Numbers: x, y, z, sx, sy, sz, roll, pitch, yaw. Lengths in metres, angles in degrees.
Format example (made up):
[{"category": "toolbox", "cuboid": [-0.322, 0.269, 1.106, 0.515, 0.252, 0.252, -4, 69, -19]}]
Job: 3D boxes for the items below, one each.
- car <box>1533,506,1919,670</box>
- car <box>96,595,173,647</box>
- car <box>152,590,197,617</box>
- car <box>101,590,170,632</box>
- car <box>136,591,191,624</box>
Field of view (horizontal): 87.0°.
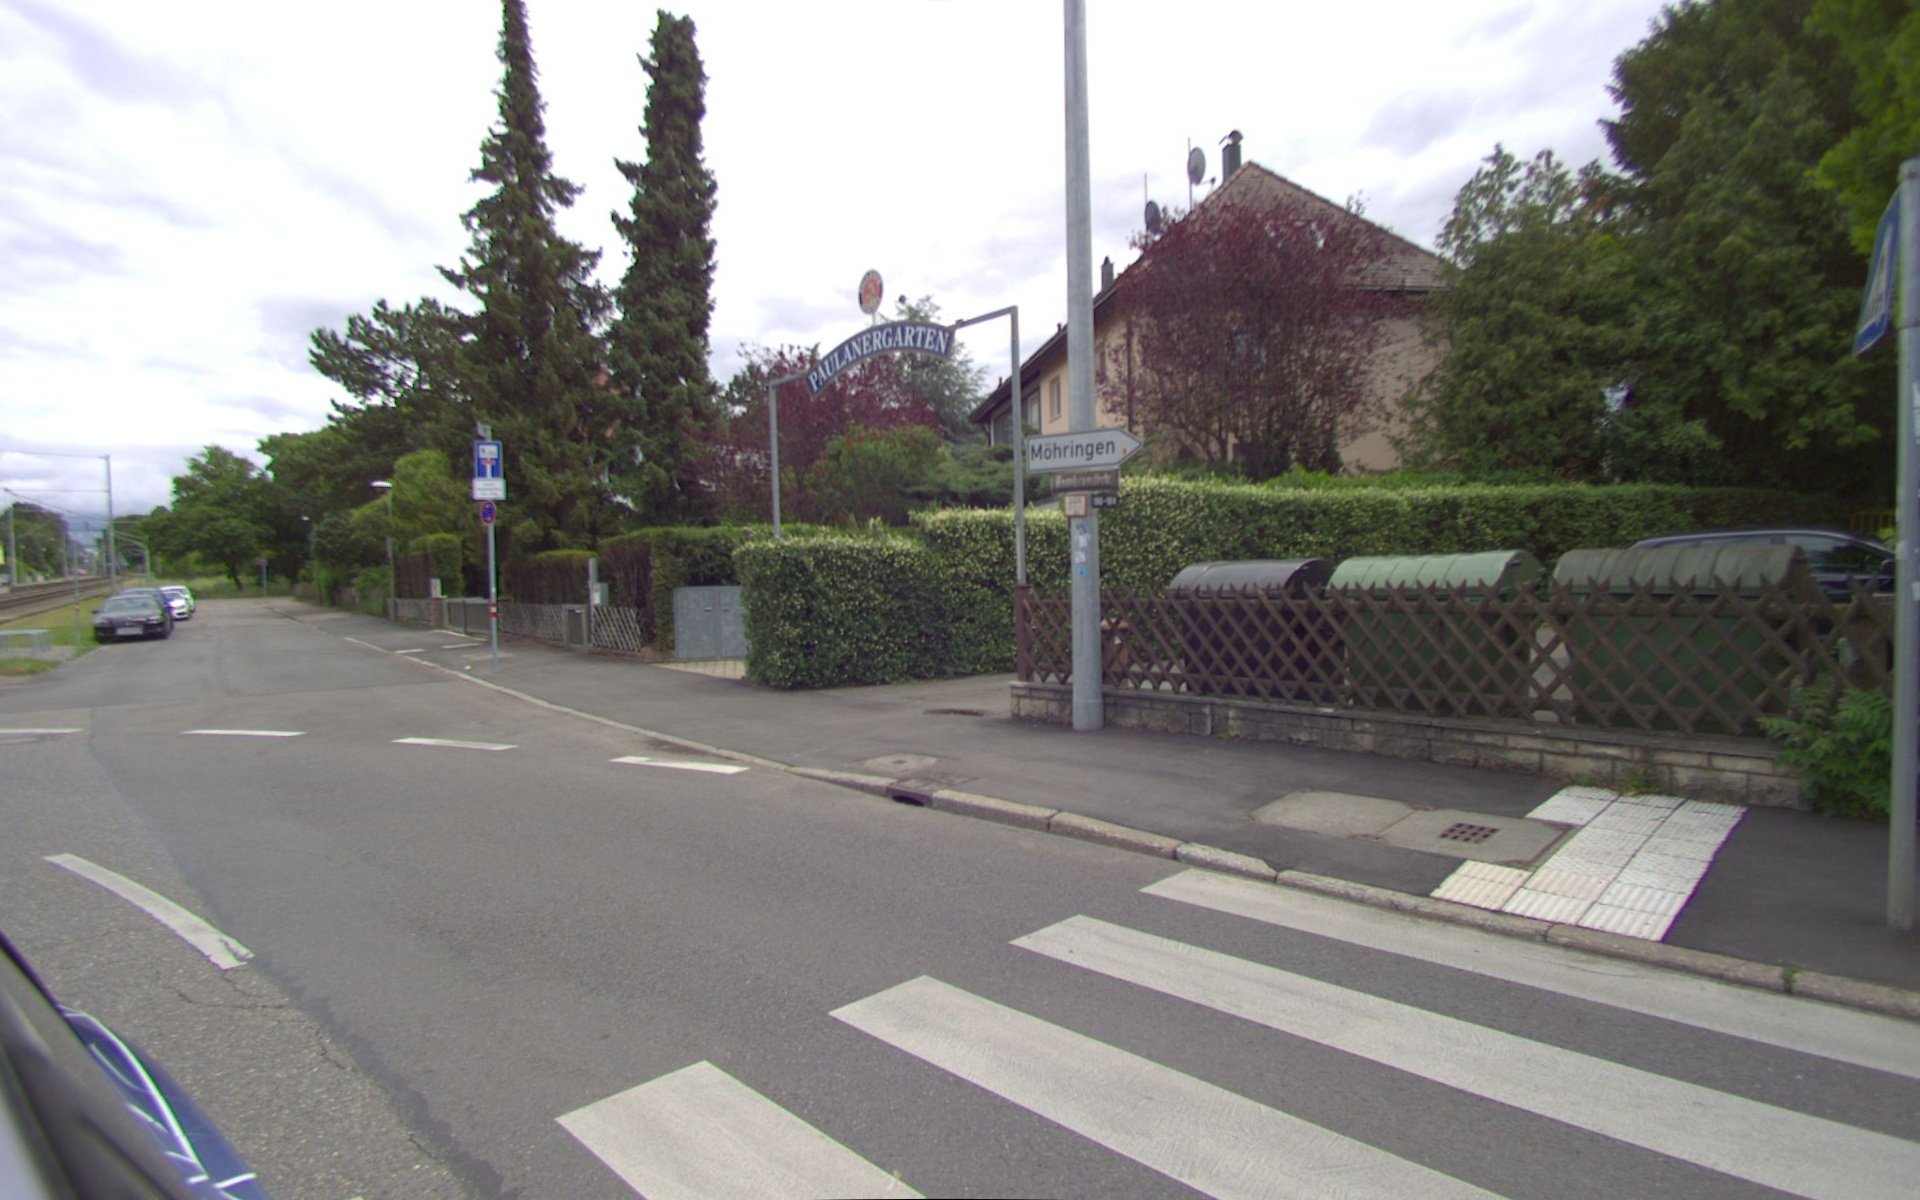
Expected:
[{"category": "car", "cuboid": [8.279, -0.127, 10.509, 1.702, 1.437, 3.681, -6, 3, -45]}, {"category": "car", "cuboid": [-27.008, 0.627, 33.165, 1.793, 1.512, 4.127, -3, 2, -39]}, {"category": "car", "cuboid": [-43.495, 0.178, 56.101, 1.825, 1.386, 4.009, -3, 2, -36]}, {"category": "car", "cuboid": [-32.001, 0.397, 39.384, 1.825, 1.491, 4.009, -3, 2, -36]}, {"category": "car", "cuboid": [-37.071, 0.332, 47.182, 1.825, 1.386, 4.009, -3, 2, -36]}]
